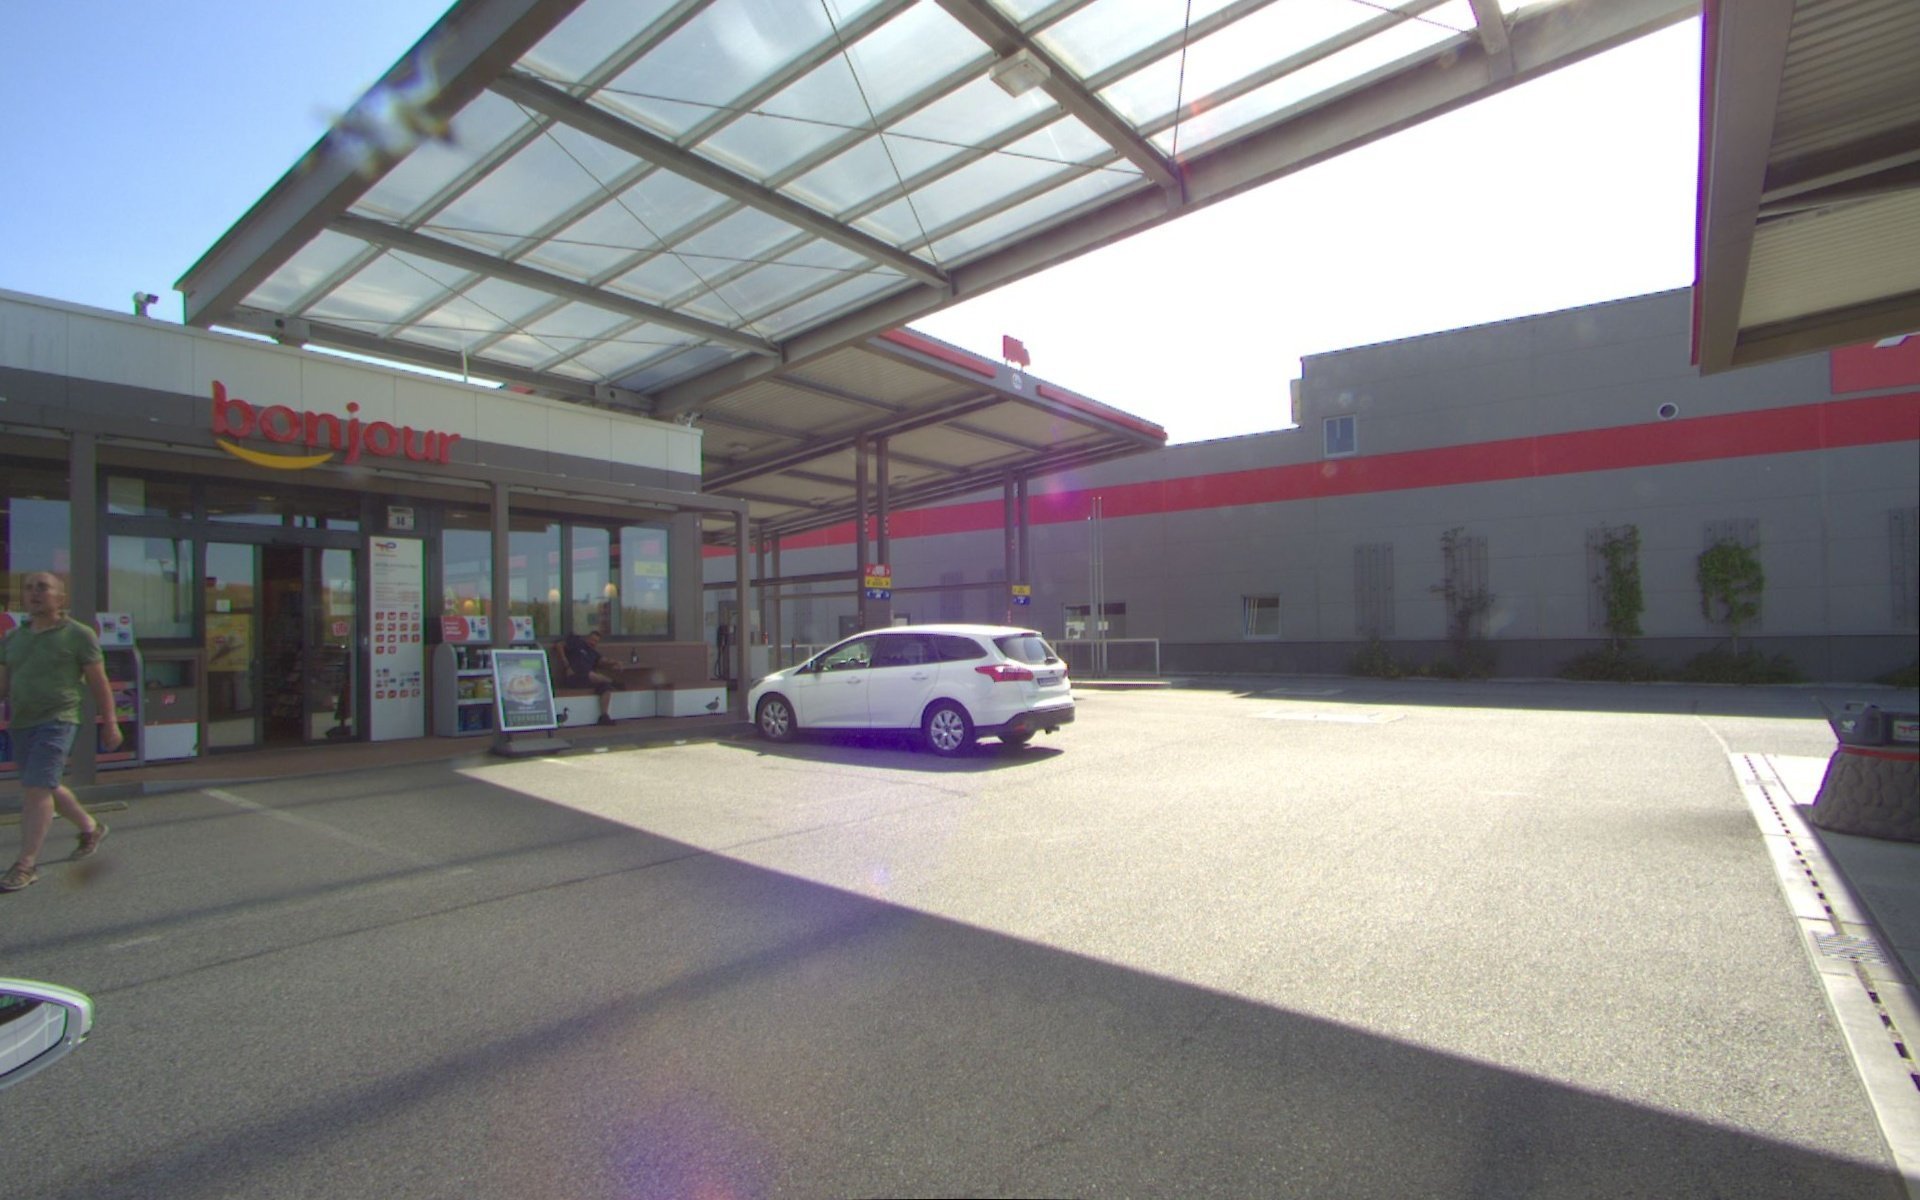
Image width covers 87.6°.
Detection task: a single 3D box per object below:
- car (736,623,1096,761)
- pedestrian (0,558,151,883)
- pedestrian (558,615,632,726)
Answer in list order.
[{"bbox_3d":[-0.611,1.046,12.623,4.257,1.475,1.828,-1,-2,31],"label":"car"},{"bbox_3d":[-5.461,0.688,6.041,0.692,1.820,0.859,0,-1,-24],"label":"pedestrian"},{"bbox_3d":[-4.949,0.940,13.584,0.664,1.450,0.699,-1,-1,35],"label":"pedestrian"}]
